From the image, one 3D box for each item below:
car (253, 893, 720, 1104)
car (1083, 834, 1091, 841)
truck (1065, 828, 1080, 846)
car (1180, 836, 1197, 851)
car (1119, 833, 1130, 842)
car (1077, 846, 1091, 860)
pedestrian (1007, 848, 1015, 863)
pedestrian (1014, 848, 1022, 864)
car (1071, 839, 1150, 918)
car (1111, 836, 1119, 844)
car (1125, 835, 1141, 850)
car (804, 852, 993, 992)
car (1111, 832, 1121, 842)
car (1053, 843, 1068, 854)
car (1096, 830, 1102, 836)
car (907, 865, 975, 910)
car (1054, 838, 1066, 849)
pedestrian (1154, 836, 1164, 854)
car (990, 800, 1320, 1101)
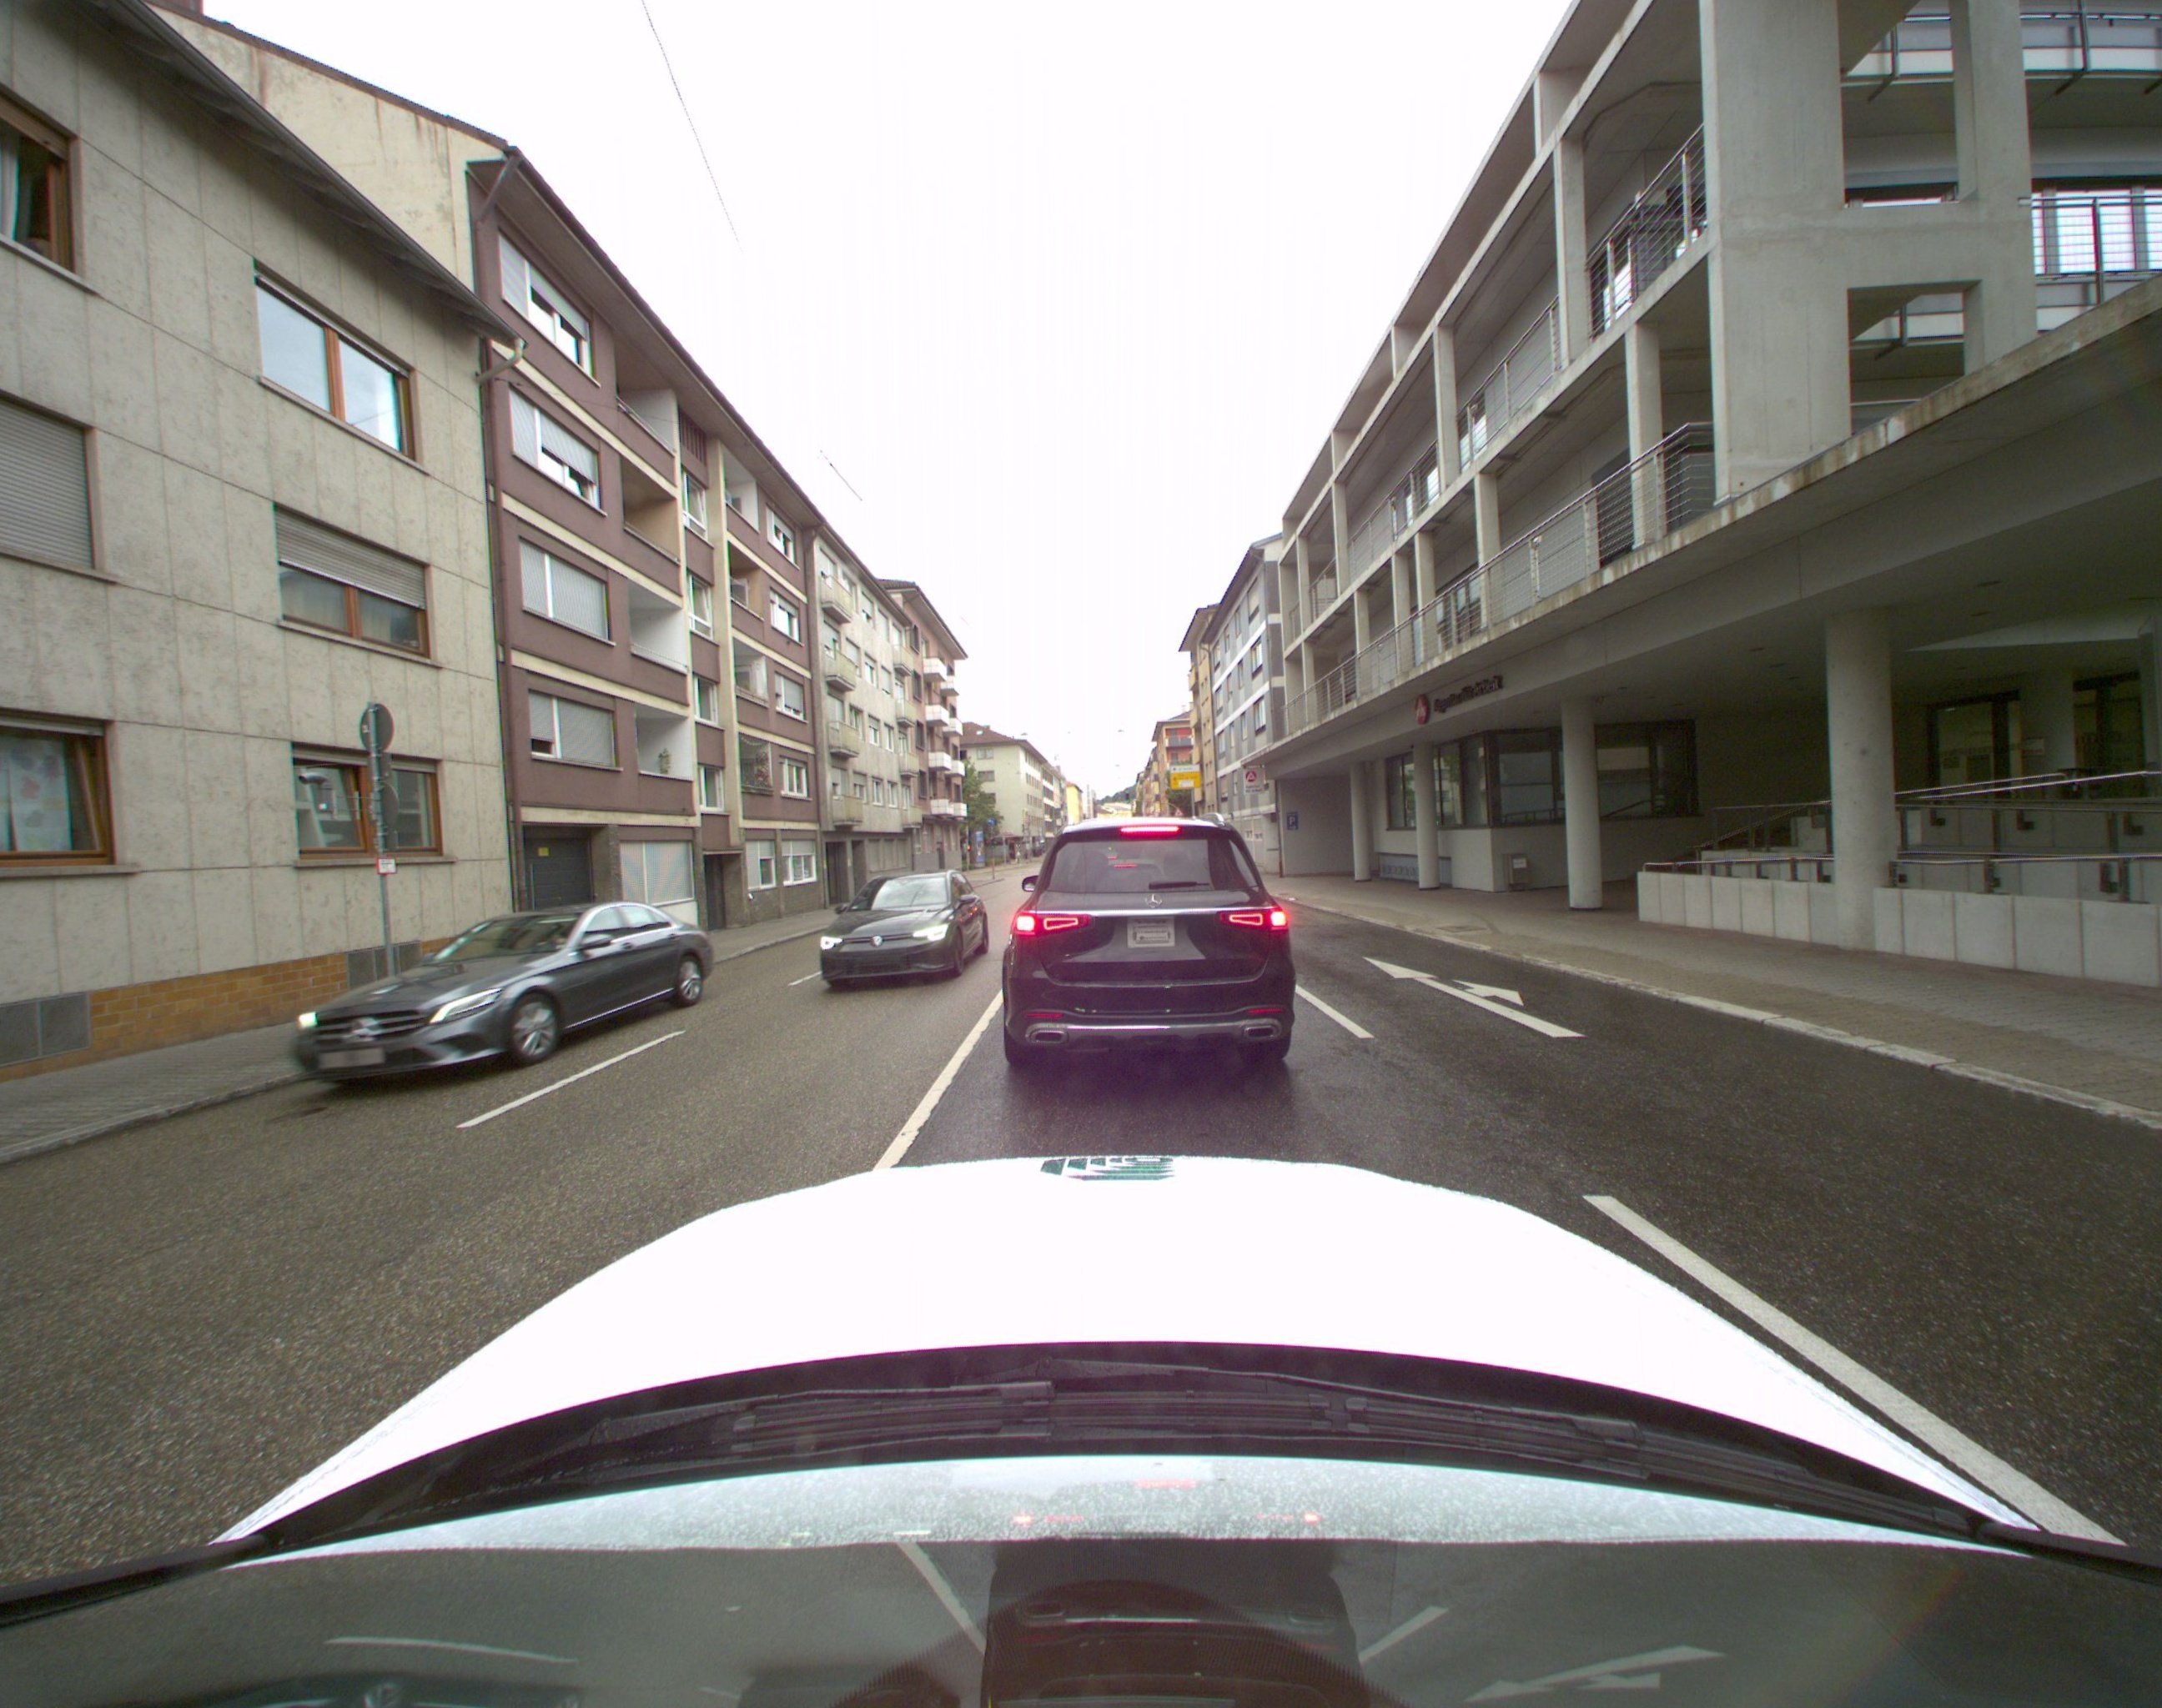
[{"bbox_3d":[-5.781,1.273,8.771,1.689,1.370,4.366,-5,-1,0],"label":"car"},{"bbox_3d":[1.445,-3.951,193.957,1.613,1.539,4.216,-5,-1,0],"label":"car"},{"bbox_3d":[-1.605,-3.172,157.358,2.472,3.046,9.917,-4,-1,0],"label":"truck"},{"bbox_3d":[12.471,-1.168,94.452,1.664,1.588,3.334,-3,0,4],"label":"car"},{"bbox_3d":[7.826,-2.954,146.027,1.613,1.387,4.216,-5,-1,0],"label":"car"},{"bbox_3d":[0.382,-0.136,101.417,1.613,1.539,4.216,-5,-1,0],"label":"car"},{"bbox_3d":[-8.825,0.190,102.495,0.920,1.902,0.706,-3,0,0],"label":"pedestrian"},{"bbox_3d":[-7.264,0.266,93.852,0.631,1.764,0.776,-3,0,15],"label":"pedestrian"},{"bbox_3d":[0.671,0.587,20.945,1.746,1.731,4.216,-3,-1,0],"label":"car"},{"bbox_3d":[7.851,-3.225,187.549,1.613,1.539,4.216,-5,-1,0],"label":"car"},{"bbox_3d":[7.013,-1.496,110.266,1.718,1.759,4.216,-5,-1,0],"label":"car"},{"bbox_3d":[-2.478,0.870,12.141,1.689,1.580,4.218,-5,-1,1],"label":"car"},{"bbox_3d":[6.790,-3.289,157.620,1.613,1.539,4.216,-5,-1,0],"label":"car"},{"bbox_3d":[-2.712,-0.701,110.750,1.879,1.264,4.216,-5,-1,0],"label":"car"},{"bbox_3d":[5.538,-6.378,250.304,1.613,1.539,4.216,-5,-1,0],"label":"car"},{"bbox_3d":[-5.077,1.173,30.063,1.593,1.370,4.362,-6,0,1],"label":"car"},{"bbox_3d":[-3.391,-1.706,131.934,1.613,1.539,4.216,-5,-1,0],"label":"car"},{"bbox_3d":[9.290,-1.059,96.870,0.920,2.013,0.706,-3,0,0],"label":"pedestrian"},{"bbox_3d":[0.515,0.602,7.124,1.977,1.805,4.391,0,-1,2],"label":"car"}]
